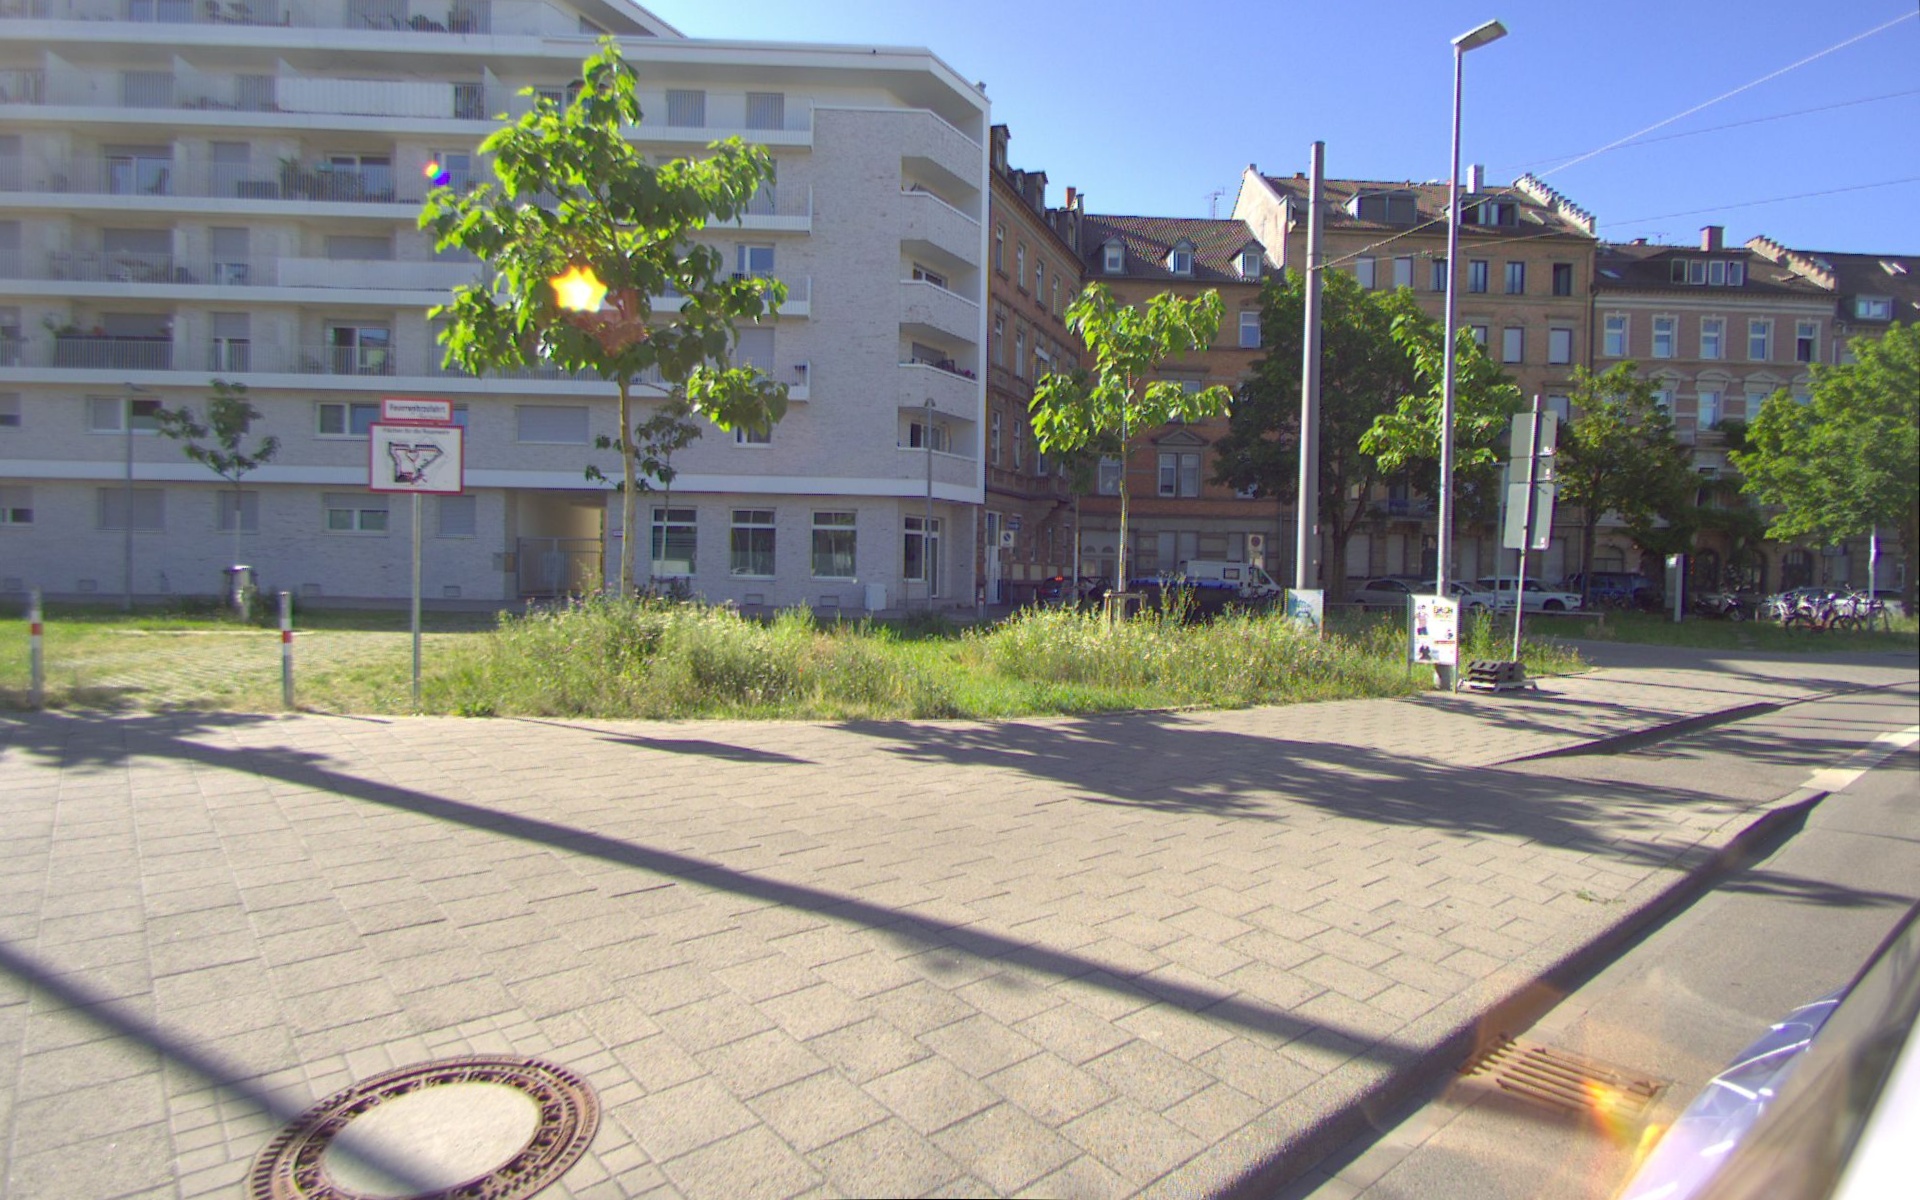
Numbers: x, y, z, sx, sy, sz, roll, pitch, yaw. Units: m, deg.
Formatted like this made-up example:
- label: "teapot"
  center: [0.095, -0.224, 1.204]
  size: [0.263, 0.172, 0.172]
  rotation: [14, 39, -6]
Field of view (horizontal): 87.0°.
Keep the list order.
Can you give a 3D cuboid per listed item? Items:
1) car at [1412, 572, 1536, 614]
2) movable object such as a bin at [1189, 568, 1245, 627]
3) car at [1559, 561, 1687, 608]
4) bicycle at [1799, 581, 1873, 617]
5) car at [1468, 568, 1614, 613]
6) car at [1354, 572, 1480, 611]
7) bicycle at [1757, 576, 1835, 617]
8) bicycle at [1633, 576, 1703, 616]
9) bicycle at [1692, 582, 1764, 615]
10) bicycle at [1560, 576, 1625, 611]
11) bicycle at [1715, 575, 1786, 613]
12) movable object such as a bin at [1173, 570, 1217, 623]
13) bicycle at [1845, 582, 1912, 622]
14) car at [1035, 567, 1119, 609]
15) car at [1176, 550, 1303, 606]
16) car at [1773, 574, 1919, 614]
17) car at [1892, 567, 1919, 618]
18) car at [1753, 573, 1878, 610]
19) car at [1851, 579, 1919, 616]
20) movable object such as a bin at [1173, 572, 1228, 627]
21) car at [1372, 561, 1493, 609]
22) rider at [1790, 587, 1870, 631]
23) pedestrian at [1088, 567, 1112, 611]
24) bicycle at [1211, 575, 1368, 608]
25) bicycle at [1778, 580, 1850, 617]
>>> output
- label: "car"
  center: [19.453, -0.298, 38.466]
  size: [1.726, 1.459, 3.846]
  rotation: [0, 1, -33]
- label: "movable object such as a bin"
  center: [6.512, -0.077, 25.611]
  size: [1.286, 1.416, 1.066]
  rotation: [1, 1, 18]
- label: "car"
  center: [31.243, -0.733, 47.755]
  size: [4.632, 2.001, 2.002]
  rotation: [2, 3, -2]
- label: "bicycle"
  center: [31.751, -0.058, 36.711]
  size: [0.882, 1.195, 1.953]
  rotation: [0, 3, -3]
- label: "car"
  center: [22.172, -0.398, 38.766]
  size: [1.900, 1.585, 4.473]
  rotation: [0, 2, -33]
- label: "car"
  center: [17.062, -0.354, 38.001]
  size: [1.802, 1.354, 4.063]
  rotation: [0, 1, -27]
- label: "bicycle"
  center: [29.033, -0.138, 35.194]
  size: [0.771, 1.382, 2.103]
  rotation: [0, 1, -8]
- label: "bicycle"
  center: [26.013, -0.167, 37.245]
  size: [0.771, 1.416, 2.104]
  rotation: [0, 1, -13]
- label: "bicycle"
  center: [28.285, -0.079, 37.317]
  size: [0.806, 1.173, 2.172]
  rotation: [0, 1, -6]
- label: "bicycle"
  center: [25.644, -0.273, 41.045]
  size: [0.774, 1.382, 2.096]
  rotation: [0, 1, -42]
- label: "bicycle"
  center: [29.234, -0.240, 37.465]
  size: [0.771, 1.382, 2.103]
  rotation: [1, 1, -8]
- label: "movable object such as a bin"
  center: [6.525, -0.100, 28.067]
  size: [1.076, 1.416, 1.026]
  rotation: [1, 1, 18]
- label: "bicycle"
  center: [31.544, 0.057, 34.772]
  size: [1.589, 1.306, 0.760]
  rotation: [3, 3, 38]
- label: "car"
  center: [4.432, -0.460, 37.761]
  size: [1.979, 1.454, 4.074]
  rotation: [1, 1, 24]
- label: "car"
  center: [12.833, -1.055, 46.746]
  size: [5.087, 2.386, 2.359]
  rotation: [2, 3, -1]
- label: "car"
  center: [34.797, -0.258, 39.237]
  size: [2.007, 1.397, 4.753]
  rotation: [0, 2, -35]
- label: "car"
  center: [40.439, -0.215, 40.052]
  size: [2.061, 2.037, 4.882]
  rotation: [-1, 4, -36]
- label: "car"
  center: [41.150, -0.428, 48.711]
  size: [4.422, 1.547, 2.003]
  rotation: [1, 3, -6]
- label: "car"
  center: [37.499, -0.076, 39.611]
  size: [1.889, 1.397, 3.615]
  rotation: [0, 2, -35]
- label: "movable object such as a bin"
  center: [6.376, -0.029, 26.798]
  size: [1.303, 1.416, 1.104]
  rotation: [1, 1, 18]
- label: "car"
  center: [22.075, -0.727, 47.410]
  size: [4.632, 2.001, 2.002]
  rotation: [2, 3, -2]
- label: "rider"
  center: [24.730, 0.265, 28.787]
  size: [1.652, 1.191, 0.501]
  rotation: [-2, 0, 15]
- label: "pedestrian"
  center: [5.122, -0.397, 37.027]
  size: [0.756, 1.596, 0.643]
  rotation: [1, 1, -2]
- label: "bicycle"
  center: [12.735, -0.348, 39.329]
  size: [5.116, 1.141, 2.687]
  rotation: [1, 1, -7]
- label: "bicycle"
  center: [30.849, -0.064, 36.614]
  size: [0.825, 1.206, 1.966]
  rotation: [1, 3, -3]
